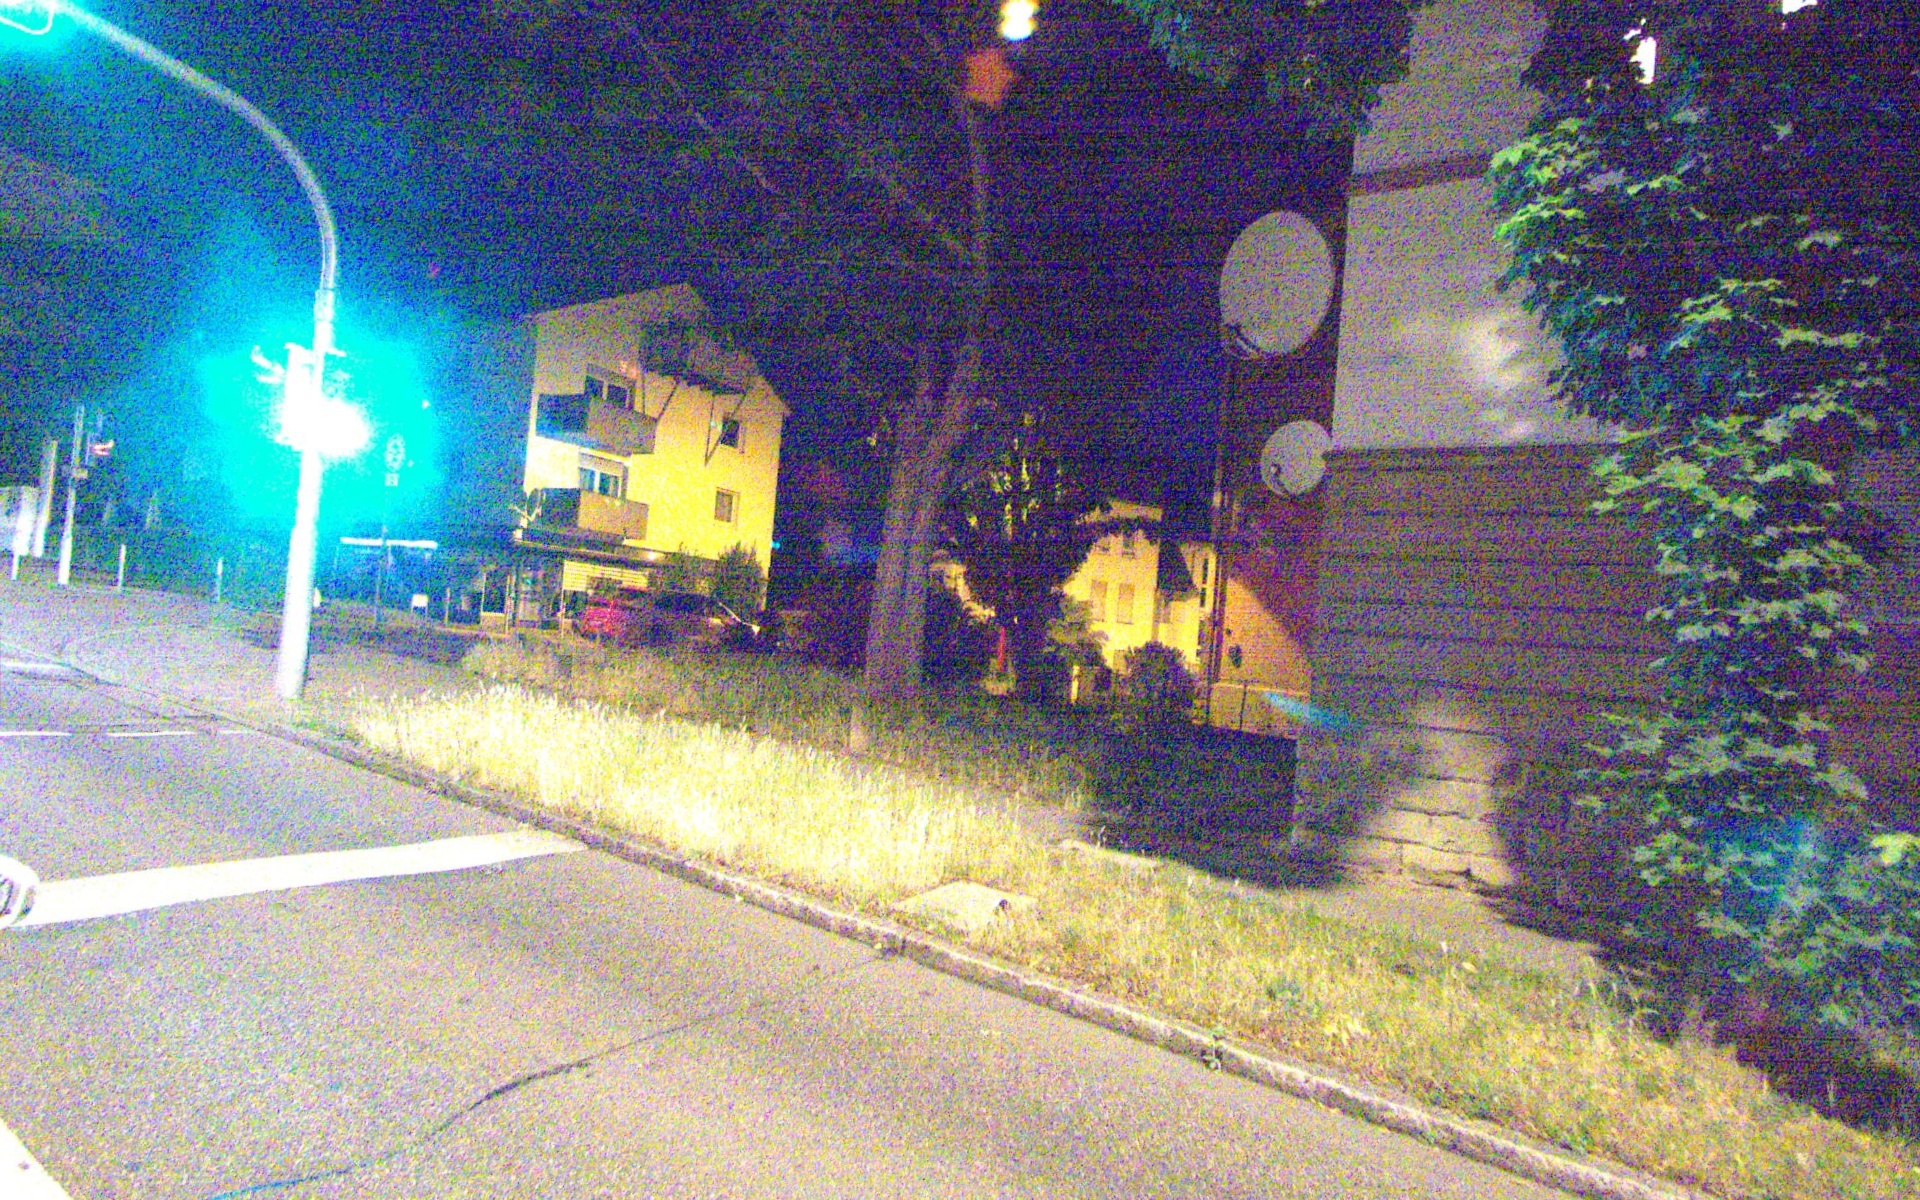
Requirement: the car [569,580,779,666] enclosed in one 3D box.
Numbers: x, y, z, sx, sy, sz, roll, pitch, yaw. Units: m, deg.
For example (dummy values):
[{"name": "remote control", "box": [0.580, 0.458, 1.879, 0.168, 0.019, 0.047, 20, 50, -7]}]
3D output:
[{"name": "car", "box": [-6.503, 0.583, 23.297, 1.778, 1.577, 4.366, 3, -3, 38]}]
